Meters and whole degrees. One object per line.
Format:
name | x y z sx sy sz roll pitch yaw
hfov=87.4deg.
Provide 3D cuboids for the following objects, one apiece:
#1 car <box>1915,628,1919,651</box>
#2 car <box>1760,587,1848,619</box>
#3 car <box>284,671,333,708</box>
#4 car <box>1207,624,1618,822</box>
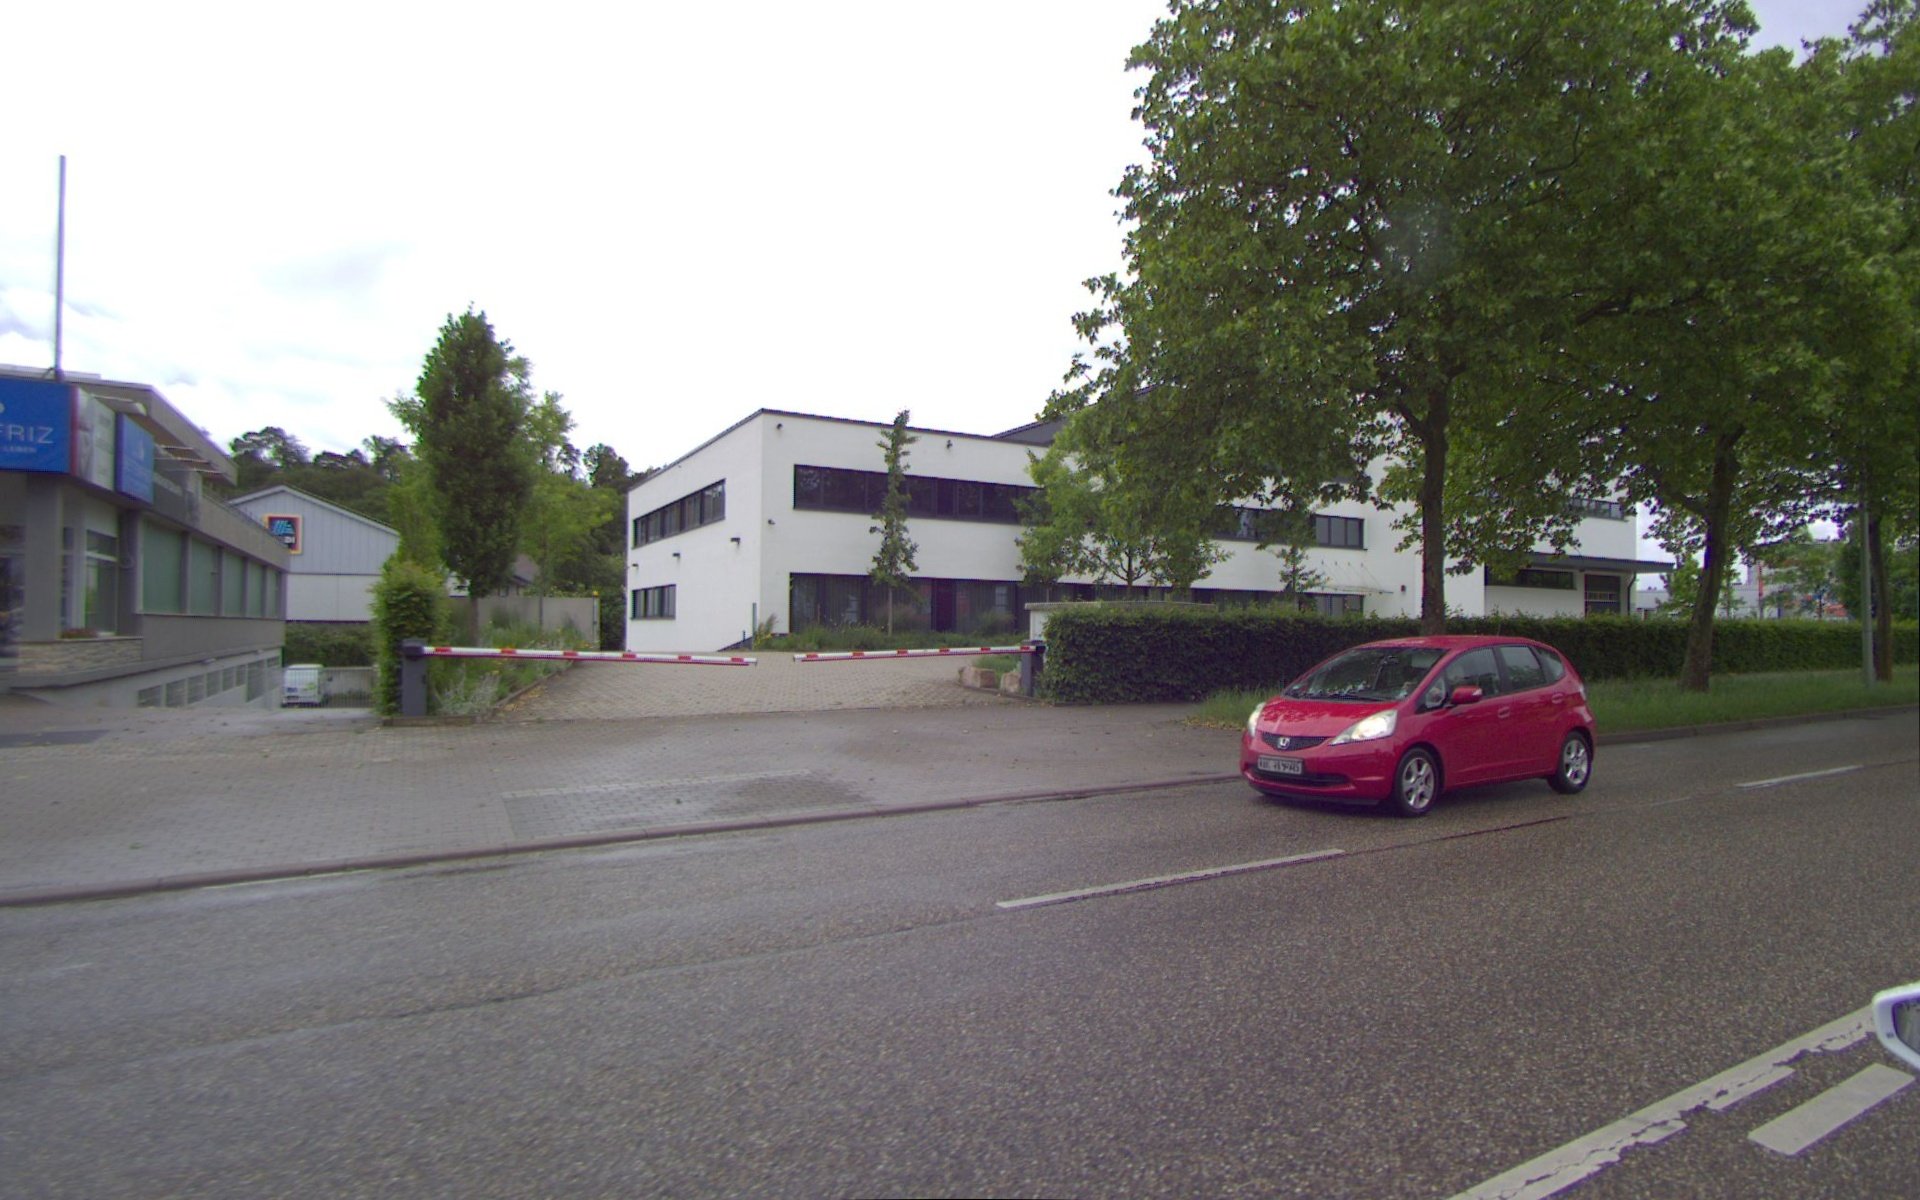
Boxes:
car | 76.691 3.066 77.581 1.861 1.790 3.966 1 -2 -32
car | 54.371 0.224 64.775 1.939 1.914 3.970 1 -2 -29
car | -36.980 5.030 57.128 1.975 1.862 3.971 1 -2 -28
car | 4.448 1.074 9.739 3.956 1.553 1.733 2 -4 -32
